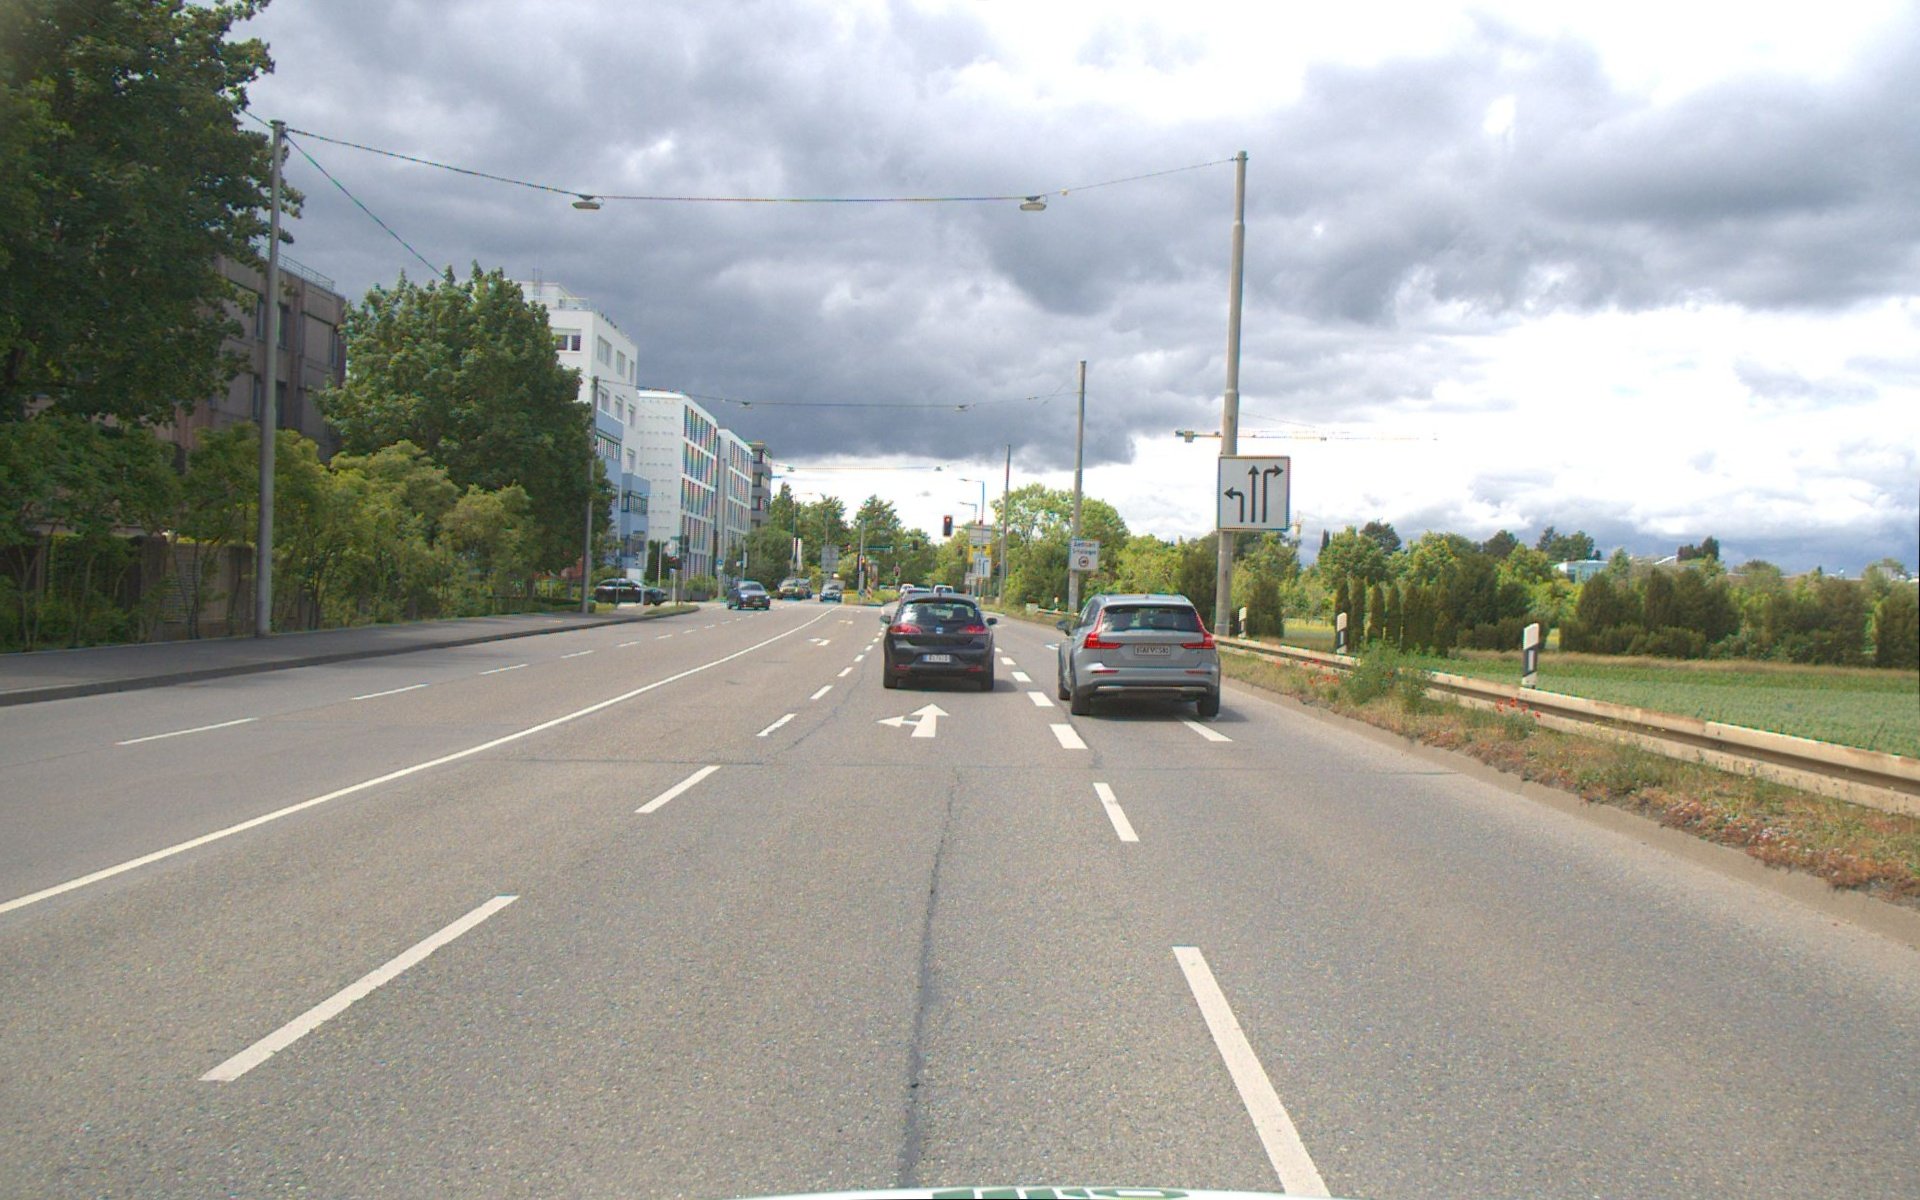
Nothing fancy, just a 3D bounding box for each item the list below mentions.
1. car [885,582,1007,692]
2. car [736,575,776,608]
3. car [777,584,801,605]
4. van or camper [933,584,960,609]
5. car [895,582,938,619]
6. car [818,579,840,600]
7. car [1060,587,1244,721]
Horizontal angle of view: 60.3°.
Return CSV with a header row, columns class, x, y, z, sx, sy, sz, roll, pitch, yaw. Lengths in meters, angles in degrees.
class,x,y,z,sx,sy,sz,roll,pitch,yaw
car,-0.194,0.550,26.318,1.712,1.509,4.000,4,0,0
car,-11.302,-0.458,91.857,1.761,1.612,4.311,5,0,-3
car,-13.834,-0.460,134.077,1.716,1.659,3.998,0,0,-3
van or camper,-1.209,-0.265,145.006,1.863,1.959,3.995,4,-2,-6
car,-2.163,0.023,81.239,1.944,1.617,4.223,2,1,-4
car,-10.452,-0.873,132.511,1.635,1.551,4.006,0,2,-3
car,2.389,0.639,21.614,1.918,1.552,4.340,1,0,0
